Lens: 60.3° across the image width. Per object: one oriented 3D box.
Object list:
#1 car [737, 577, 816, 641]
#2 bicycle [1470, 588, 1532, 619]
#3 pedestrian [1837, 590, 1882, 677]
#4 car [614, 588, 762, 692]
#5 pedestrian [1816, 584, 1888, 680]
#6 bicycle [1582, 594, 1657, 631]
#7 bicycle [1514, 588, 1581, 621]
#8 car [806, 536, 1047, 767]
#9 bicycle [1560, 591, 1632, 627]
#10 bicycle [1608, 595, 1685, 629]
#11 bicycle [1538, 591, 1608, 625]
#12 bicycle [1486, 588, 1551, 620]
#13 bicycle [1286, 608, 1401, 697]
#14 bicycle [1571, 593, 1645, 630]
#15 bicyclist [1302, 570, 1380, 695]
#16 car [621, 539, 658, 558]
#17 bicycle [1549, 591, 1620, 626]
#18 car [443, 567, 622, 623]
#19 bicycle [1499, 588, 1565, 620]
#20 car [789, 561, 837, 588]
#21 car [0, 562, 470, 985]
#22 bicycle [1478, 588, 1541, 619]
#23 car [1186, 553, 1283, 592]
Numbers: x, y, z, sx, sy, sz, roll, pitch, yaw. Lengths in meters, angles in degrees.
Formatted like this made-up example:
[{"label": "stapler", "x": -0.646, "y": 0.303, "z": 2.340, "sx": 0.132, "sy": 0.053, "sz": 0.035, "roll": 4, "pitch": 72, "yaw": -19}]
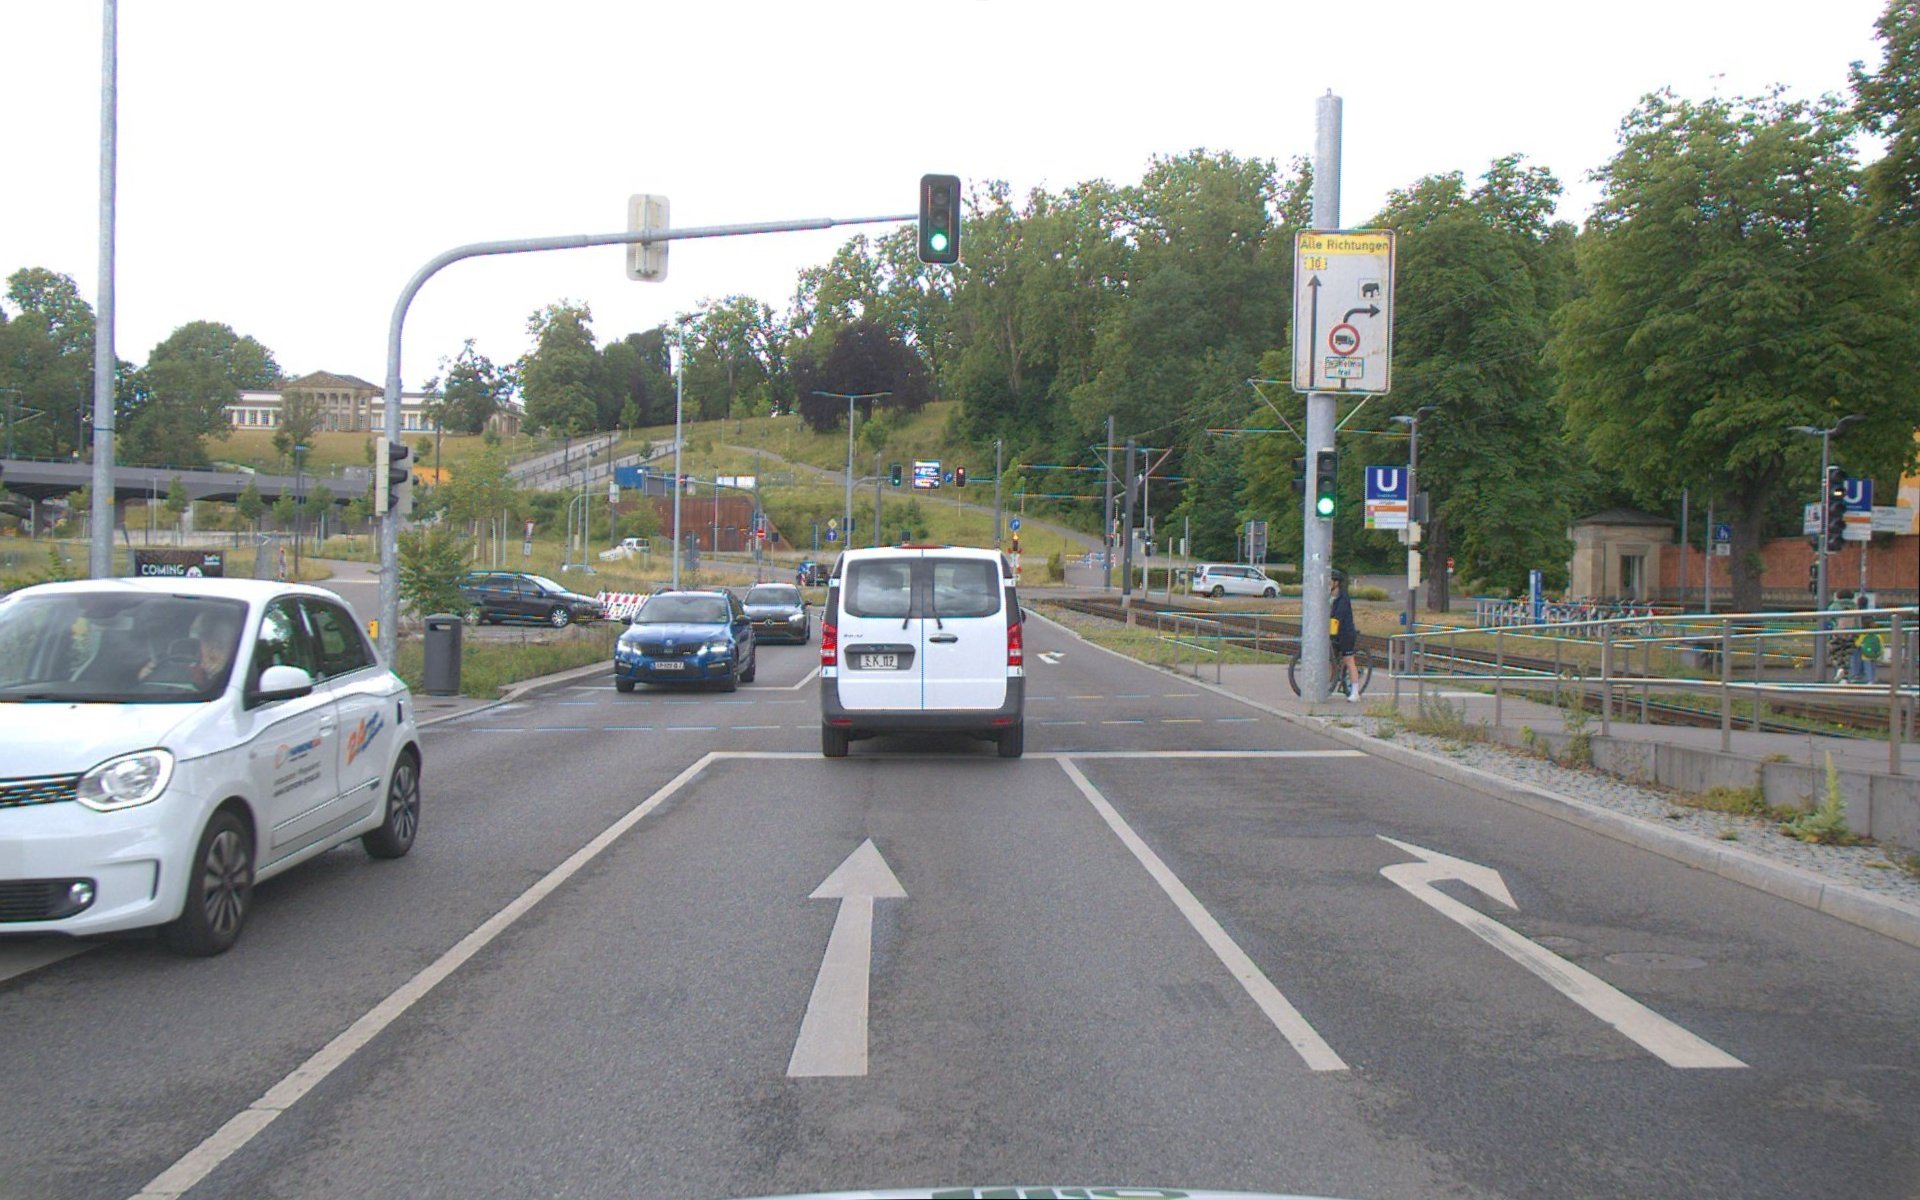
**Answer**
[{"label": "car", "x": -4.701, "y": 0.201, "z": 42.809, "sx": 1.695, "sy": 1.555, "sz": 4.443, "roll": 0, "pitch": 0, "yaw": -2}, {"label": "bicycle", "x": 17.866, "y": 0.108, "z": 54.623, "sx": 1.873, "sy": 0.992, "sz": 0.531, "roll": 0, "pitch": 1, "yaw": -1}, {"label": "pedestrian", "x": 16.106, "y": 0.597, "z": 29.605, "sx": 0.490, "sy": 1.528, "sz": 0.512, "roll": 0, "pitch": 1, "yaw": -24}, {"label": "car", "x": -4.094, "y": 0.546, "z": 25.526, "sx": 1.695, "sy": 1.446, "sz": 4.443, "roll": 0, "pitch": 0, "yaw": -2}, {"label": "pedestrian", "x": 15.547, "y": 0.545, "z": 28.839, "sx": 0.821, "sy": 1.637, "sz": 0.773, "roll": 0, "pitch": 1, "yaw": -24}, {"label": "bicycle", "x": 18.277, "y": 0.332, "z": 45.839, "sx": 1.873, "sy": 0.992, "sz": 0.531, "roll": 0, "pitch": 1, "yaw": -1}, {"label": "bicycle", "x": 18.181, "y": 0.141, "z": 51.182, "sx": 1.873, "sy": 0.992, "sz": 0.531, "roll": 0, "pitch": 1, "yaw": -1}, {"label": "car", "x": -0.167, "y": 0.400, "z": 16.195, "sx": 1.918, "sy": 1.937, "sz": 4.464, "roll": -1, "pitch": 1, "yaw": 4}, {"label": "bicycle", "x": 18.225, "y": 0.260, "z": 47.424, "sx": 1.873, "sy": 0.992, "sz": 0.531, "roll": 0, "pitch": 1, "yaw": -1}, {"label": "bicycle", "x": 18.554, "y": 0.320, "z": 44.732, "sx": 1.873, "sy": 0.911, "sz": 0.531, "roll": 0, "pitch": 1, "yaw": -1}, {"label": "bicycle", "x": 18.143, "y": 0.231, "z": 48.945, "sx": 1.873, "sy": 0.992, "sz": 0.531, "roll": 0, "pitch": 1, "yaw": -1}, {"label": "bicycle", "x": 17.791, "y": 0.123, "z": 52.714, "sx": 1.873, "sy": 0.992, "sz": 0.531, "roll": 0, "pitch": 1, "yaw": -1}, {"label": "bicycle", "x": 5.090, "y": 0.676, "z": 21.898, "sx": 1.669, "sy": 1.092, "sz": 0.611, "roll": 0, "pitch": 3, "yaw": -41}, {"label": "bicycle", "x": 18.213, "y": 0.321, "z": 46.484, "sx": 1.873, "sy": 0.992, "sz": 0.531, "roll": 0, "pitch": 1, "yaw": -1}, {"label": "bicyclist", "x": 5.030, "y": 0.410, "z": 21.830, "sx": 0.799, "sy": 1.599, "sz": 0.609, "roll": 0, "pitch": 3, "yaw": -41}, {"label": "car", "x": -28.730, "y": -4.616, "z": 148.194, "sx": 1.920, "sy": 1.655, "sz": 3.954, "roll": 1, "pitch": 1, "yaw": -34}, {"label": "bicycle", "x": 18.175, "y": 0.252, "z": 48.164, "sx": 1.873, "sy": 0.992, "sz": 0.531, "roll": 0, "pitch": 1, "yaw": -1}, {"label": "car", "x": -12.432, "y": -0.161, "z": 48.234, "sx": 4.609, "sy": 1.503, "sz": 2.002, "roll": 1, "pitch": 2, "yaw": 9}, {"label": "bicycle", "x": 17.974, "y": 0.130, "z": 51.991, "sx": 1.873, "sy": 0.992, "sz": 0.531, "roll": 0, "pitch": 1, "yaw": -1}, {"label": "car", "x": -10.030, "y": -1.733, "z": 112.592, "sx": 1.914, "sy": 1.655, "sz": 3.967, "roll": 2, "pitch": 1, "yaw": -26}, {"label": "car", "x": -3.776, "y": 0.621, "z": 8.187, "sx": 1.559, "sy": 1.544, "sz": 4.083, "roll": 2, "pitch": 0, "yaw": -2}, {"label": "bicycle", "x": 17.844, "y": 0.116, "z": 53.697, "sx": 1.873, "sy": 0.992, "sz": 0.531, "roll": 0, "pitch": 1, "yaw": -1}, {"label": "car", "x": 15.873, "y": -1.592, "z": 95.654, "sx": 5.042, "sy": 2.048, "sz": 2.202, "roll": 2, "pitch": 1, "yaw": -11}]
